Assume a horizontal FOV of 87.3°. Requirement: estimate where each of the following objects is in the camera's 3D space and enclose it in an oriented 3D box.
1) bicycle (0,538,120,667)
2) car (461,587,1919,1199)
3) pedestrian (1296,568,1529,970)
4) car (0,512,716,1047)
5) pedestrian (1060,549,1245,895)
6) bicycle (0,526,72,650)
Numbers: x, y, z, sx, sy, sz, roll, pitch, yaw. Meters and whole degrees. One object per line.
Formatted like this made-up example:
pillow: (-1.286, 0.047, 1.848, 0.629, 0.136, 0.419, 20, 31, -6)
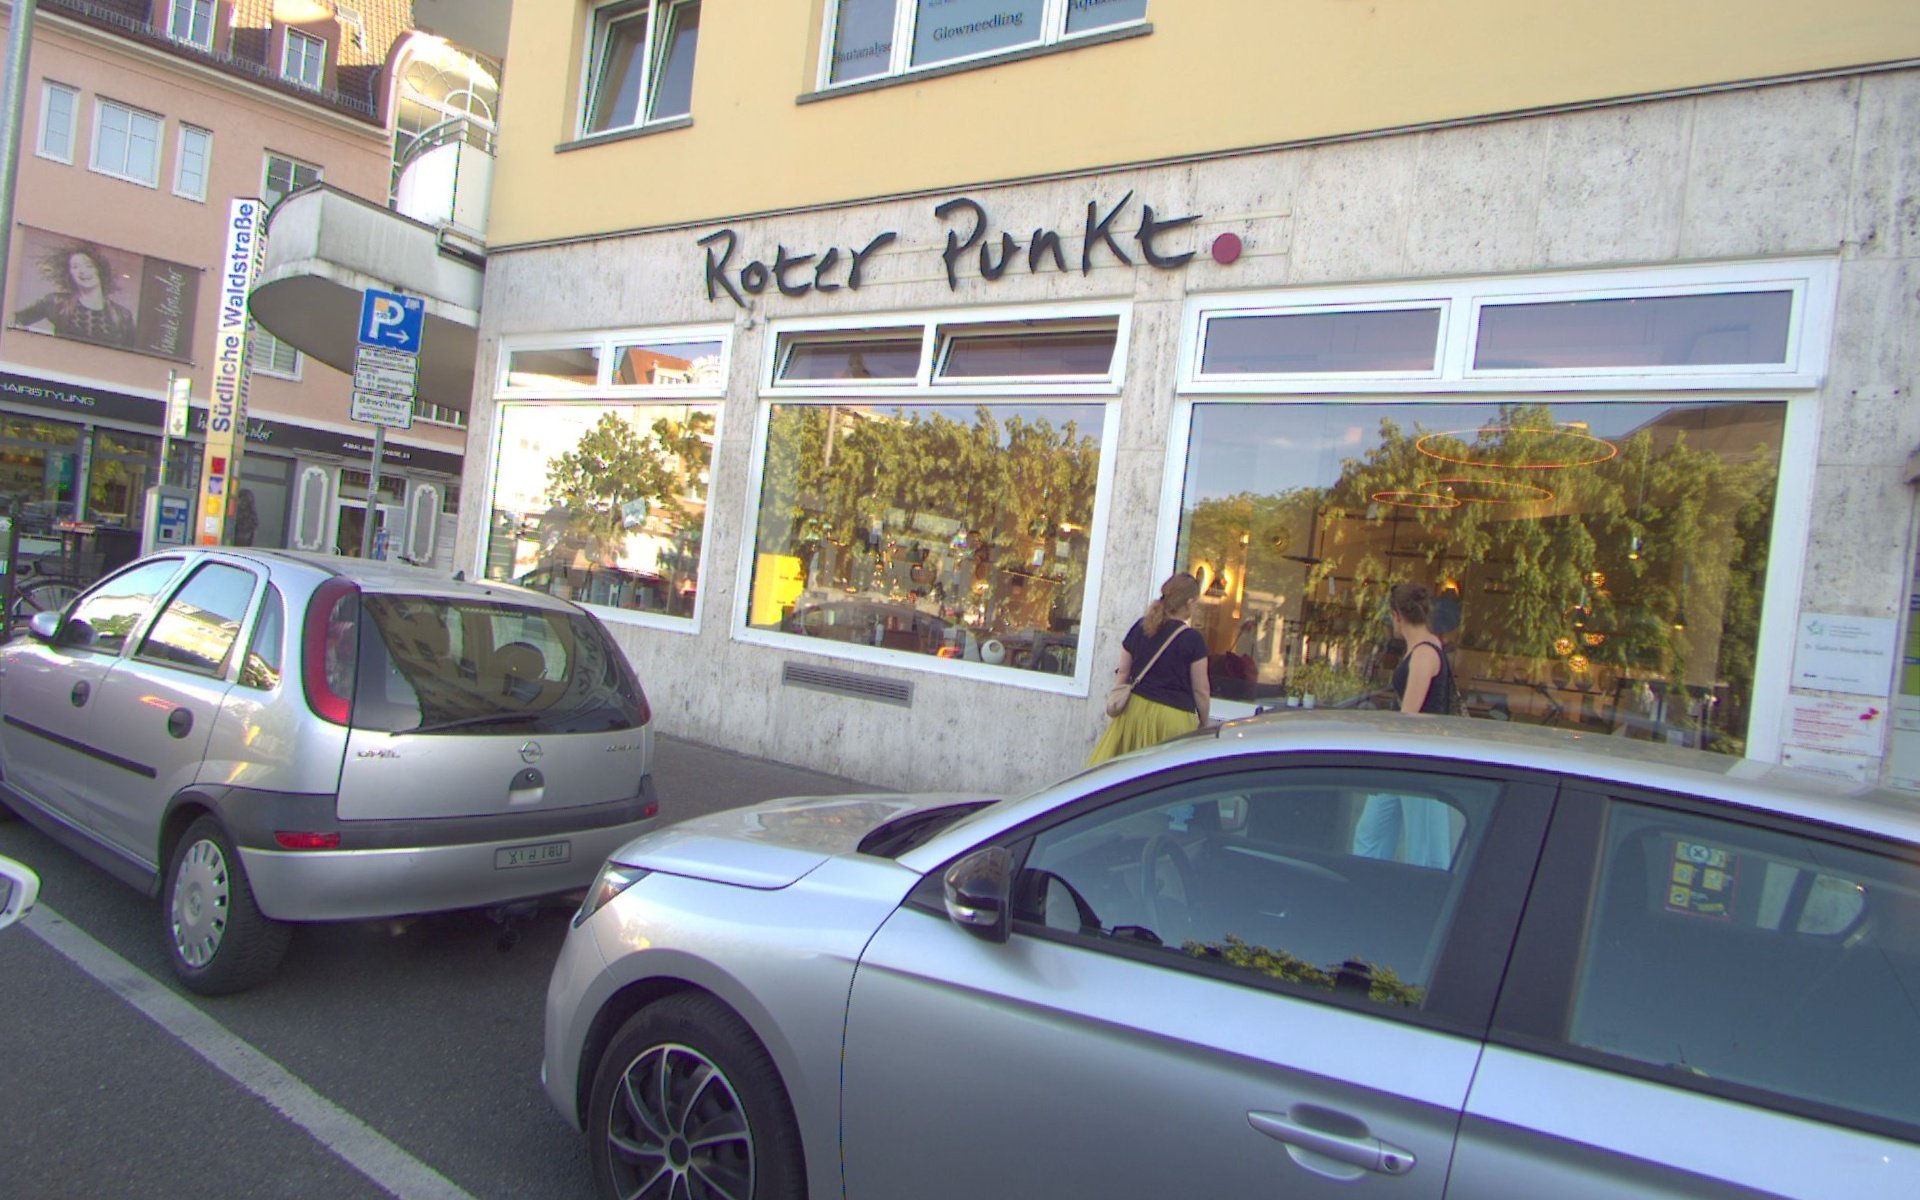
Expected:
bicycle: (-8.121, -0.001, 8.205, 0.348, 1.051, 1.871, 6, 1, 38)
car: (0.767, 0.923, 2.261, 3.598, 1.444, 1.550, 6, -1, 30)
pedestrian: (2.131, 0.747, 4.736, 0.639, 1.685, 0.655, 7, 0, 44)
car: (-2.929, 0.485, 4.439, 3.420, 1.407, 1.548, 6, -1, 33)
pedestrian: (1.122, 0.669, 5.811, 0.730, 1.805, 0.567, 7, 0, 25)
bicycle: (-9.084, -0.147, 8.807, 0.408, 1.101, 1.872, 6, 1, 35)
